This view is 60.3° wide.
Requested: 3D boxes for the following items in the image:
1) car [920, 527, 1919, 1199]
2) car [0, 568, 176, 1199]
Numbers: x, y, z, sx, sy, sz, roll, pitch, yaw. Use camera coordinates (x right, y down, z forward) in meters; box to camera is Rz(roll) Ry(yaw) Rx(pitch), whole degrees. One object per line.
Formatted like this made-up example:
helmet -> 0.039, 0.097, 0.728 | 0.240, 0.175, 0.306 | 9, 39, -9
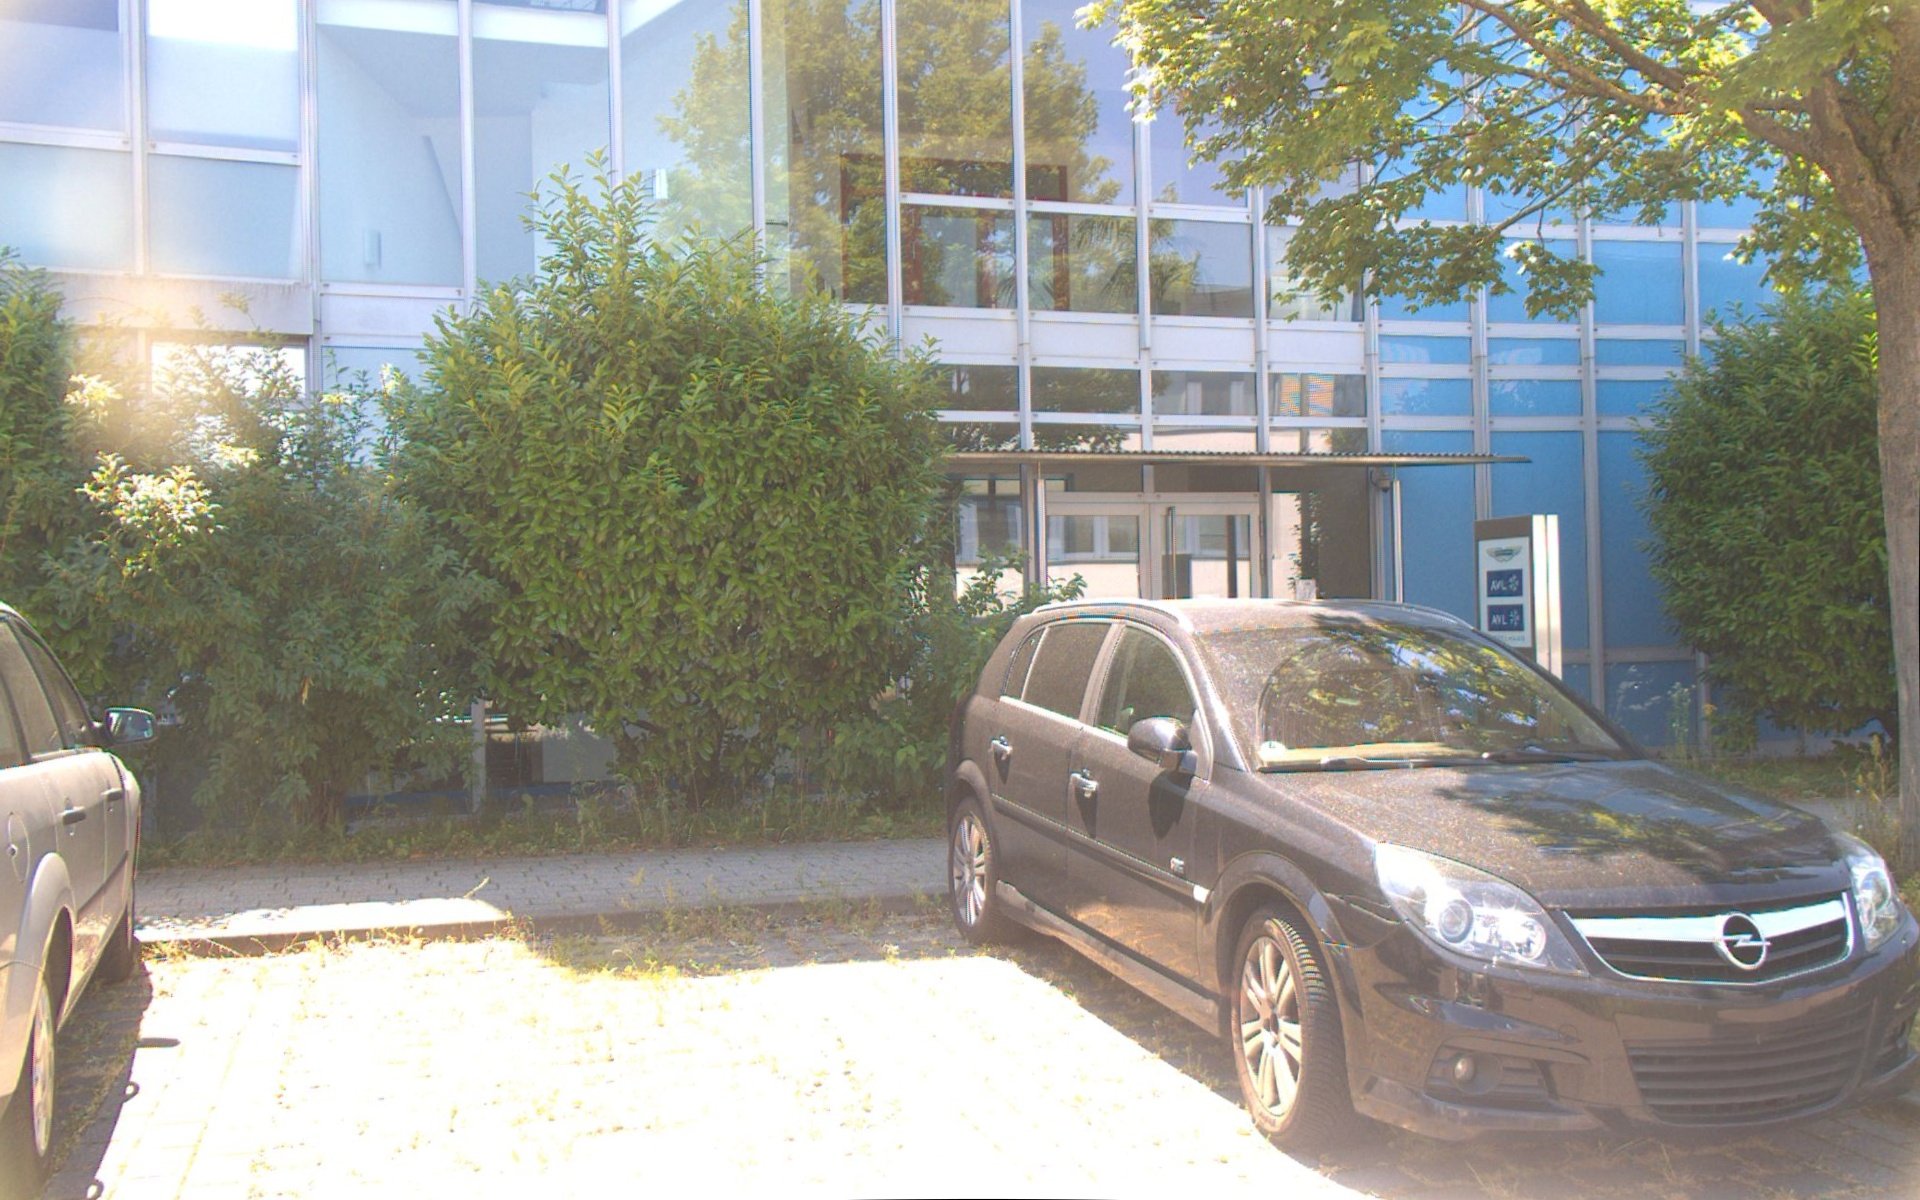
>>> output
car -> 1.269, 0.654, 5.985 | 1.730, 1.576, 4.544 | 0, -1, -16
car -> -3.413, 0.704, 4.824 | 1.695, 1.505, 4.321 | 0, -1, -21
